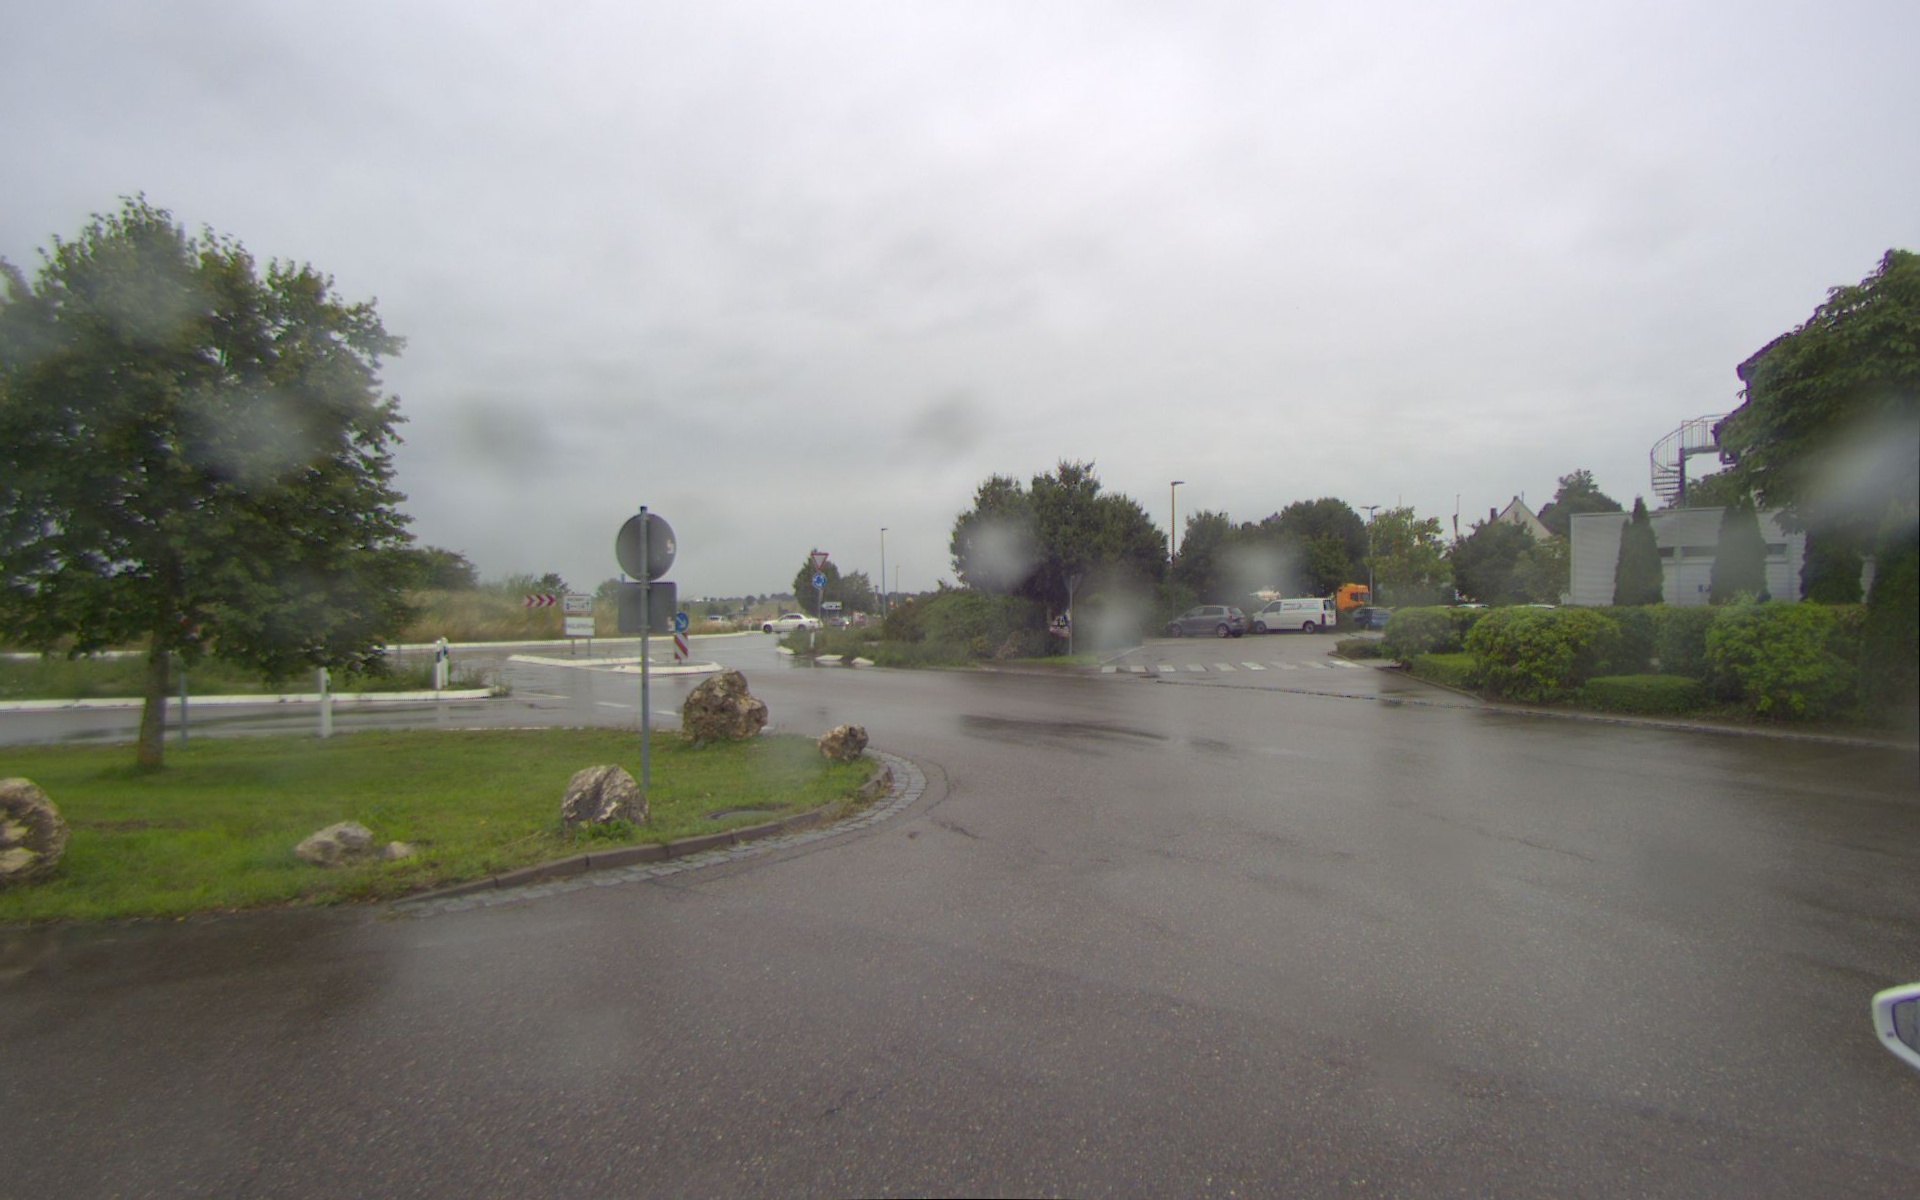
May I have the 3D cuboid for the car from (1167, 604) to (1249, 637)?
[{"bbox_3d":[12.223,1.002,49.692,3.689,1.571,1.443,-1,0,41],"label":"car"}]

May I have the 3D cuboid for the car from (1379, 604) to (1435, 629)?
[{"bbox_3d":[27.536,0.998,61.997,1.555,1.477,3.678,-1,-1,-5],"label":"car"}]

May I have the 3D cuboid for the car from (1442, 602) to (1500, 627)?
[{"bbox_3d":[32.478,0.908,63.961,1.555,1.477,3.678,-1,-1,-5],"label":"car"}]

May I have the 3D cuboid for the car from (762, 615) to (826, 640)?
[{"bbox_3d":[-12.008,1.986,72.742,4.279,1.782,1.749,-1,-1,16],"label":"car"}]

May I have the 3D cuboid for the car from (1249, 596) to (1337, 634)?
[{"bbox_3d":[18.896,0.847,57.096,4.469,2.060,1.636,-1,0,41],"label":"car"}]

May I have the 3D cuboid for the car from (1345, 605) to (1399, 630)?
[{"bbox_3d":[25.207,1.066,61.585,1.526,1.477,3.678,-1,-1,-5],"label":"car"}]

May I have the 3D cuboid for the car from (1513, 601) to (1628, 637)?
[{"bbox_3d":[26.918,0.866,44.353,4.127,1.517,1.709,-2,-1,41],"label":"car"}]
